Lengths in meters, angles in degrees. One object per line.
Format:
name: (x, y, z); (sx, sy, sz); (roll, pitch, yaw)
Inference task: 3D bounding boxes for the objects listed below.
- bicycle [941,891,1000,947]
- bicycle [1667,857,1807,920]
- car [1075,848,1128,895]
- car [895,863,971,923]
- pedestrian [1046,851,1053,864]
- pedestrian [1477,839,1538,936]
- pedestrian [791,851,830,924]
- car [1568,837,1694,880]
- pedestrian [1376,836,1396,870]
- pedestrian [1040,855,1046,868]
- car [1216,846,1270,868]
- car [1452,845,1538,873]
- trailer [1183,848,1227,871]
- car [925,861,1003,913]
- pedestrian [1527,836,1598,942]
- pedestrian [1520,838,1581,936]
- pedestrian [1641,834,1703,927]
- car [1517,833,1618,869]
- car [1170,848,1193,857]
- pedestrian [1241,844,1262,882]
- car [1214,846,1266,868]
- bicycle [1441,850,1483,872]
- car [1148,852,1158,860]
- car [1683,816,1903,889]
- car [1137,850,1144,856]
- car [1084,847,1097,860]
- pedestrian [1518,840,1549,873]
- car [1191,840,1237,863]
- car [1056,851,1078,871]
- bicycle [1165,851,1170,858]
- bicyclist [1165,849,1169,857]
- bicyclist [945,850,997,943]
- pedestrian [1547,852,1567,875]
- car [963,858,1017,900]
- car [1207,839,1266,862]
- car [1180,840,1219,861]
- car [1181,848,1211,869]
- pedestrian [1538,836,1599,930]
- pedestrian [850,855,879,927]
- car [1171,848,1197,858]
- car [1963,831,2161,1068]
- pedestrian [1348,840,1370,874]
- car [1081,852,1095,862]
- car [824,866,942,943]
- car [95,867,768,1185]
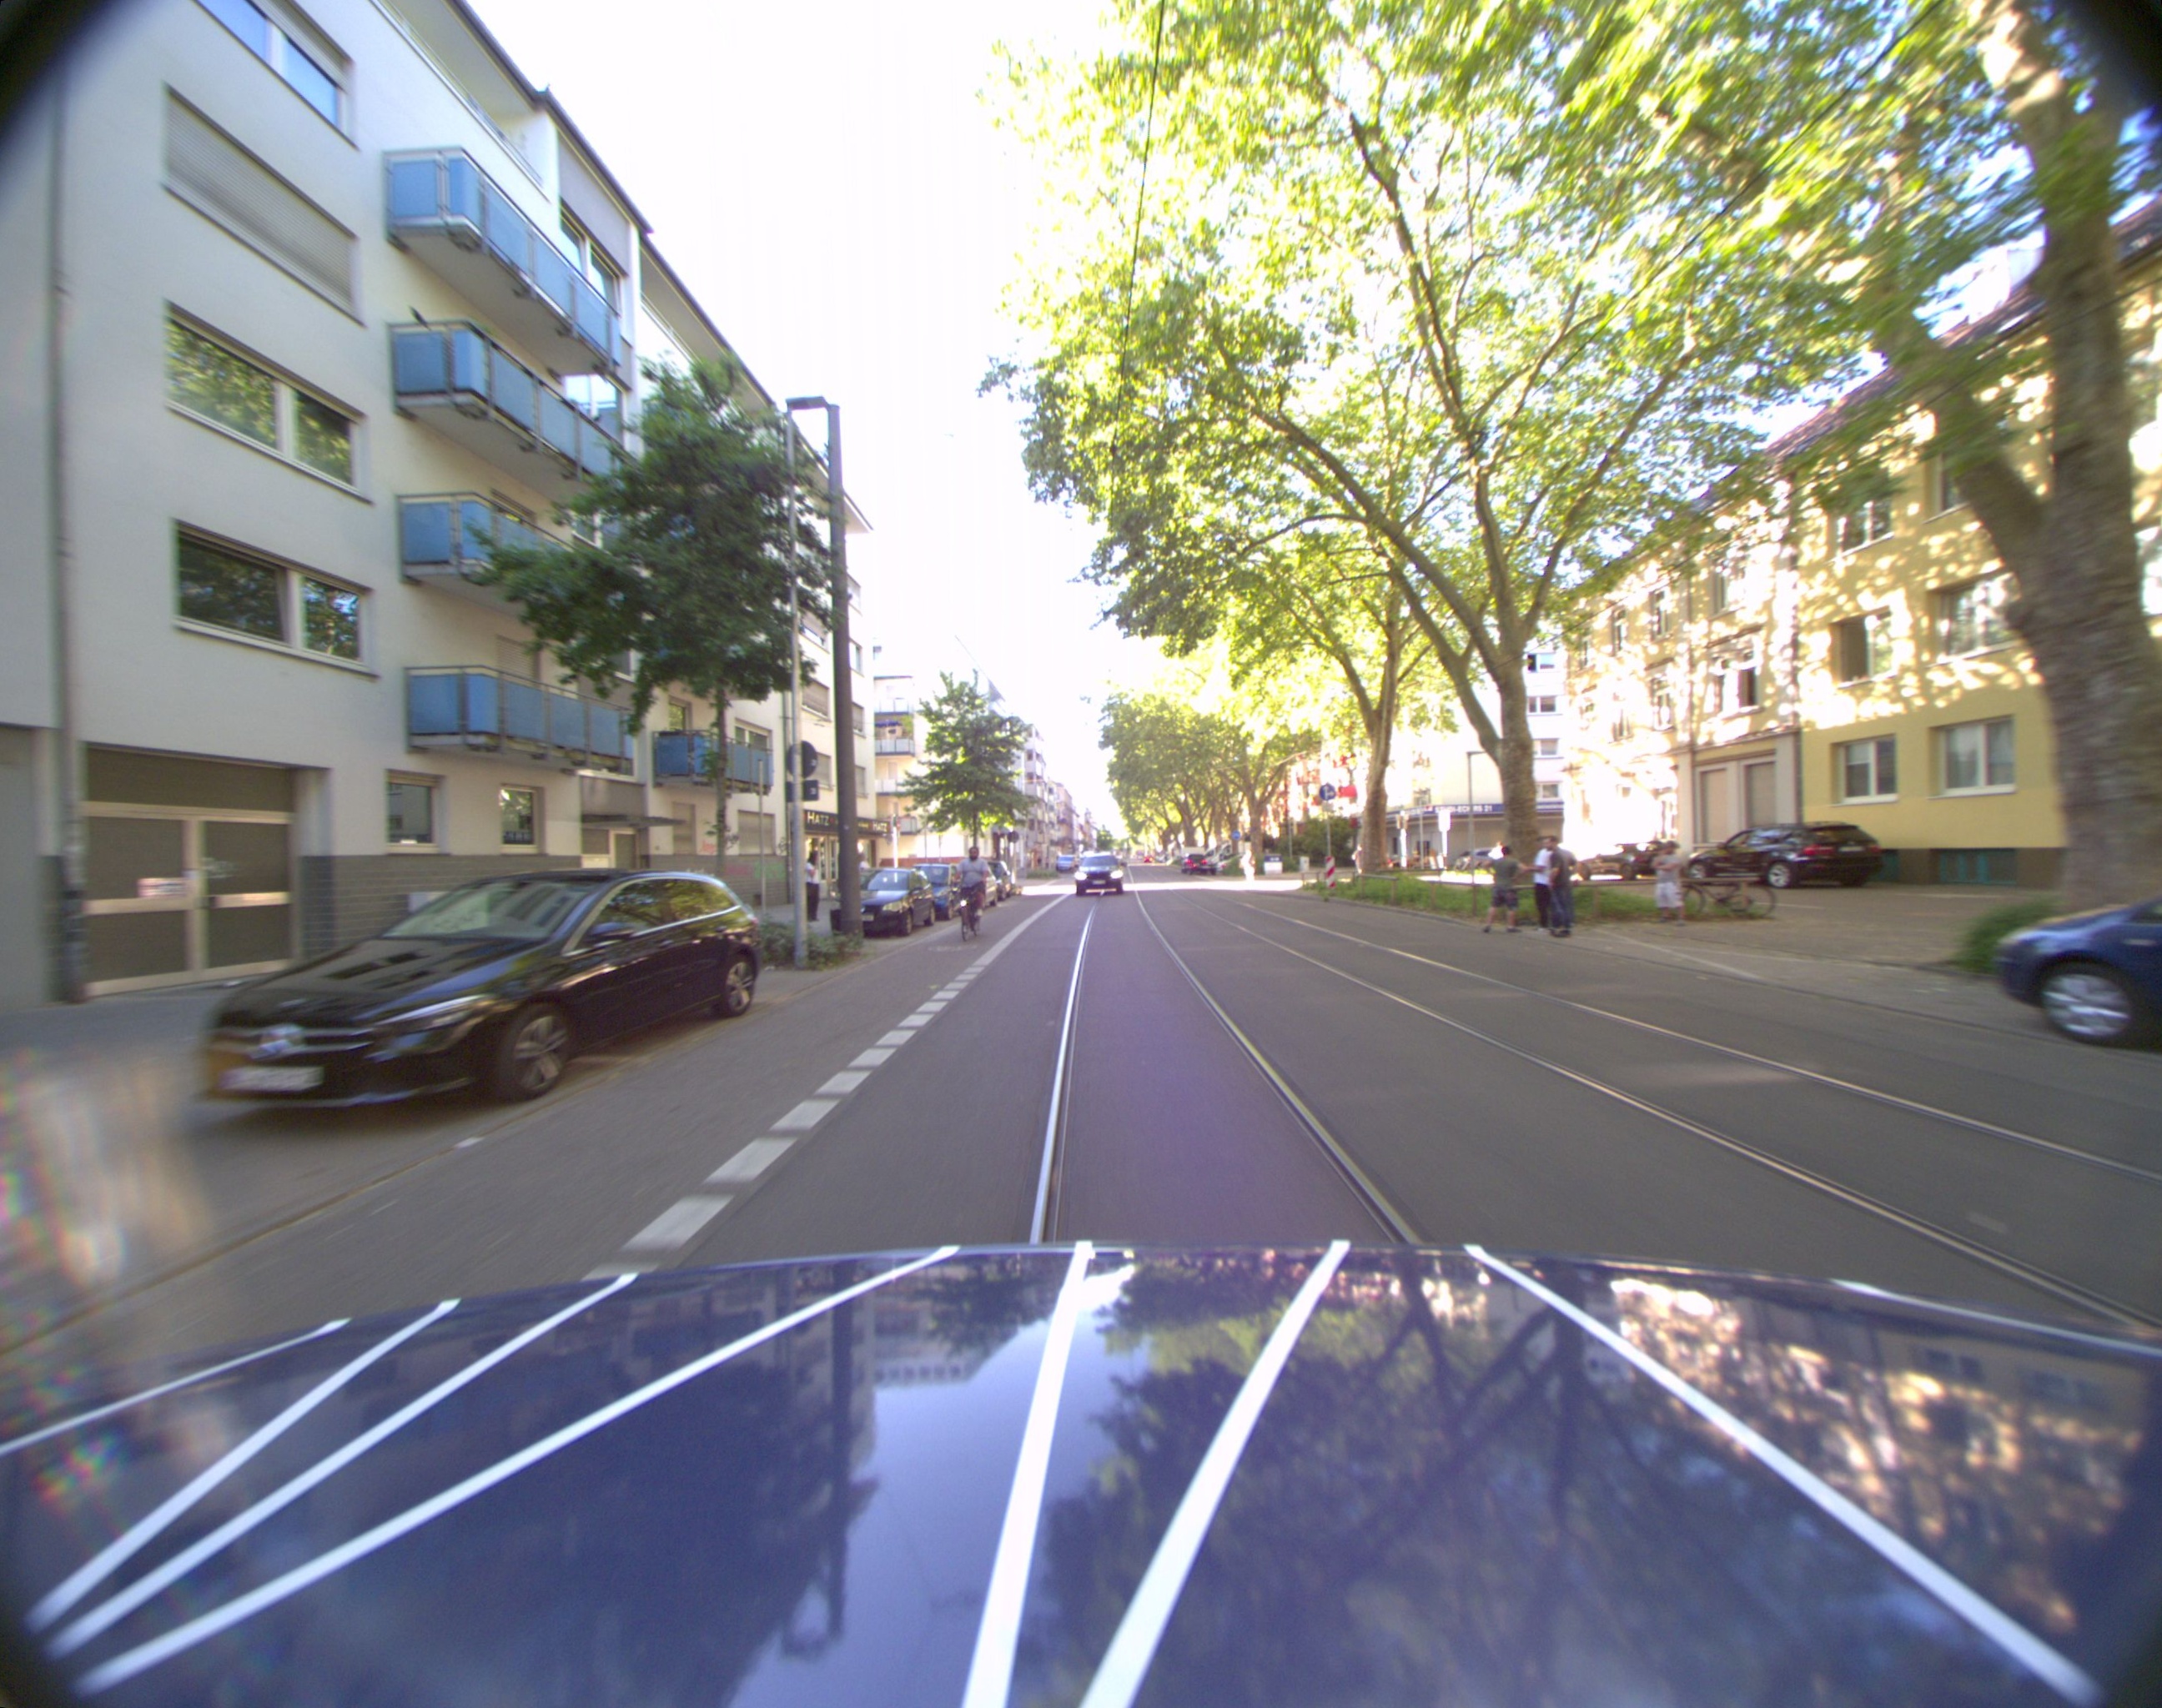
bicycle: (-2.245, 1.317, 15.729); (0.790, 0.932, 1.939); (-3, 1, 3)
bicycle: (11.951, 0.641, 13.917); (1.847, 1.073, 0.570); (-2, 1, 30)
car: (0.934, 0.677, 32.130); (1.998, 1.723, 4.400); (-4, 1, 3)
car: (-4.084, 1.026, 21.309); (1.447, 1.528, 2.882); (0, 0, 3)
pedestrian: (-4.291, 0.453, 103.316); (0.697, 1.685, 0.678); (-3, 1, 3)
pedestrian: (7.967, 0.604, 14.207); (0.772, 1.725, 0.712); (-4, 1, -40)
pedestrian: (-6.962, 0.858, 19.579); (0.538, 1.841, 0.665); (-2, 1, 31)
car: (20.259, 0.138, 28.216); (1.783, 1.379, 4.000); (-3, 1, 1)
pedestrian: (16.166, -0.056, 40.296); (0.724, 1.770, 0.669); (-3, 2, -6)
pedestrian: (-4.671, 0.891, 93.341); (0.590, 1.493, 0.600); (-3, 1, 3)
car: (13.258, 0.248, 62.285); (3.996, 1.600, 1.909); (-3, 1, 1)
car: (25.052, 0.261, 46.040); (4.152, 1.469, 1.835); (-3, 1, 2)
trailer: (9.500, 0.381, 58.887); (2.452, 1.622, 6.584); (0, 1, 1)
car: (-3.797, 1.034, 25.295); (1.790, 1.528, 4.128); (0, 0, 3)
pedestrian: (8.414, 0.594, 13.307); (0.713, 1.767, 0.771); (-3, 1, 3)
pedestrian: (8.689, 0.592, 14.061); (0.768, 1.725, 0.715); (-2, 2, 45)
pedestrian: (10.742, 0.470, 13.805); (0.768, 1.600, 0.715); (-2, 2, 45)
car: (25.379, -0.128, 39.772); (4.011, 1.627, 1.801); (-3, -3, 2)
car: (19.214, -0.263, 145.527); (3.996, 1.458, 2.000); (-3, 1, 1)
pedestrian: (8.254, 0.430, 36.771); (0.700, 1.781, 0.801); (-3, 1, -9)
car: (13.569, 0.251, 65.072); (3.996, 1.635, 2.000); (-3, 1, 1)
bicycle: (19.944, 0.381, 39.799); (1.867, 1.056, 0.656); (-3, 1, -5)
car: (15.982, 0.411, 168.061); (1.998, 1.723, 4.400); (-3, 1, 3)
car: (19.543, -0.069, 21.227); (1.998, 1.726, 4.697); (-3, 1, 5)
car: (19.044, -0.193, 241.646); (1.998, 1.723, 4.400); (-3, 1, 3)
car: (1.681, -0.047, 130.191); (1.990, 2.085, 4.471); (-3, 1, 4)
pedestrian: (21.137, 0.094, 35.498); (0.774, 1.470, 1.069); (-3, 1, 1)
car: (14.334, -0.265, 82.112); (4.660, 2.293, 2.000); (-3, 1, 3)
car: (-1.421, 0.737, 79.792); (1.957, 1.914, 4.000); (-3, 1, 4)
bicycle: (13.072, 0.065, 114.849); (0.533, 0.901, 1.557); (-3, 1, 4)
bicyclist: (13.058, -0.195, 114.846); (0.533, 1.206, 0.666); (-3, 1, 4)
bicyclist: (-2.261, 0.856, 15.767); (0.769, 1.821, 1.099); (-3, 1, 3)
pedestrian: (22.083, 0.423, 35.261); (0.544, 1.034, 0.545); (-3, 1, -30)
car: (-3.682, 0.970, 31.235); (1.724, 1.562, 4.259); (0, 1, 0)
car: (14.973, -0.326, 73.367); (5.133, 1.984, 1.999); (-3, 1, -2)
car: (15.062, -0.448, 96.760); (4.660, 2.518, 2.000); (-3, 1, 3)
car: (9.703, 0.329, 64.283); (1.927, 1.674, 4.182); (0, 1, 1)
pedestrian: (9.233, 0.541, 14.413); (0.769, 1.725, 0.718); (-2, 1, 18)
pedestrian: (-5.702, 0.954, 20.026); (0.477, 1.841, 0.664); (-2, 1, 0)
car: (17.258, -0.153, 127.428); (3.996, 1.458, 2.000); (-3, 1, 1)
car: (8.218, 0.644, 4.137); (1.921, 1.553, 4.284); (-3, 1, 2)
pedestrian: (14.346, 0.153, 39.214); (0.741, 1.747, 0.733); (-3, 1, -32)
car: (1.140, 0.423, 120.764); (1.867, 1.499, 4.000); (-3, 1, 4)
car: (-4.361, 1.060, 17.312); (1.626, 1.473, 3.889); (0, 0, 0)
car: (-4.480, 0.979, 6.334); (1.763, 1.578, 4.329); (1, 1, 3)
